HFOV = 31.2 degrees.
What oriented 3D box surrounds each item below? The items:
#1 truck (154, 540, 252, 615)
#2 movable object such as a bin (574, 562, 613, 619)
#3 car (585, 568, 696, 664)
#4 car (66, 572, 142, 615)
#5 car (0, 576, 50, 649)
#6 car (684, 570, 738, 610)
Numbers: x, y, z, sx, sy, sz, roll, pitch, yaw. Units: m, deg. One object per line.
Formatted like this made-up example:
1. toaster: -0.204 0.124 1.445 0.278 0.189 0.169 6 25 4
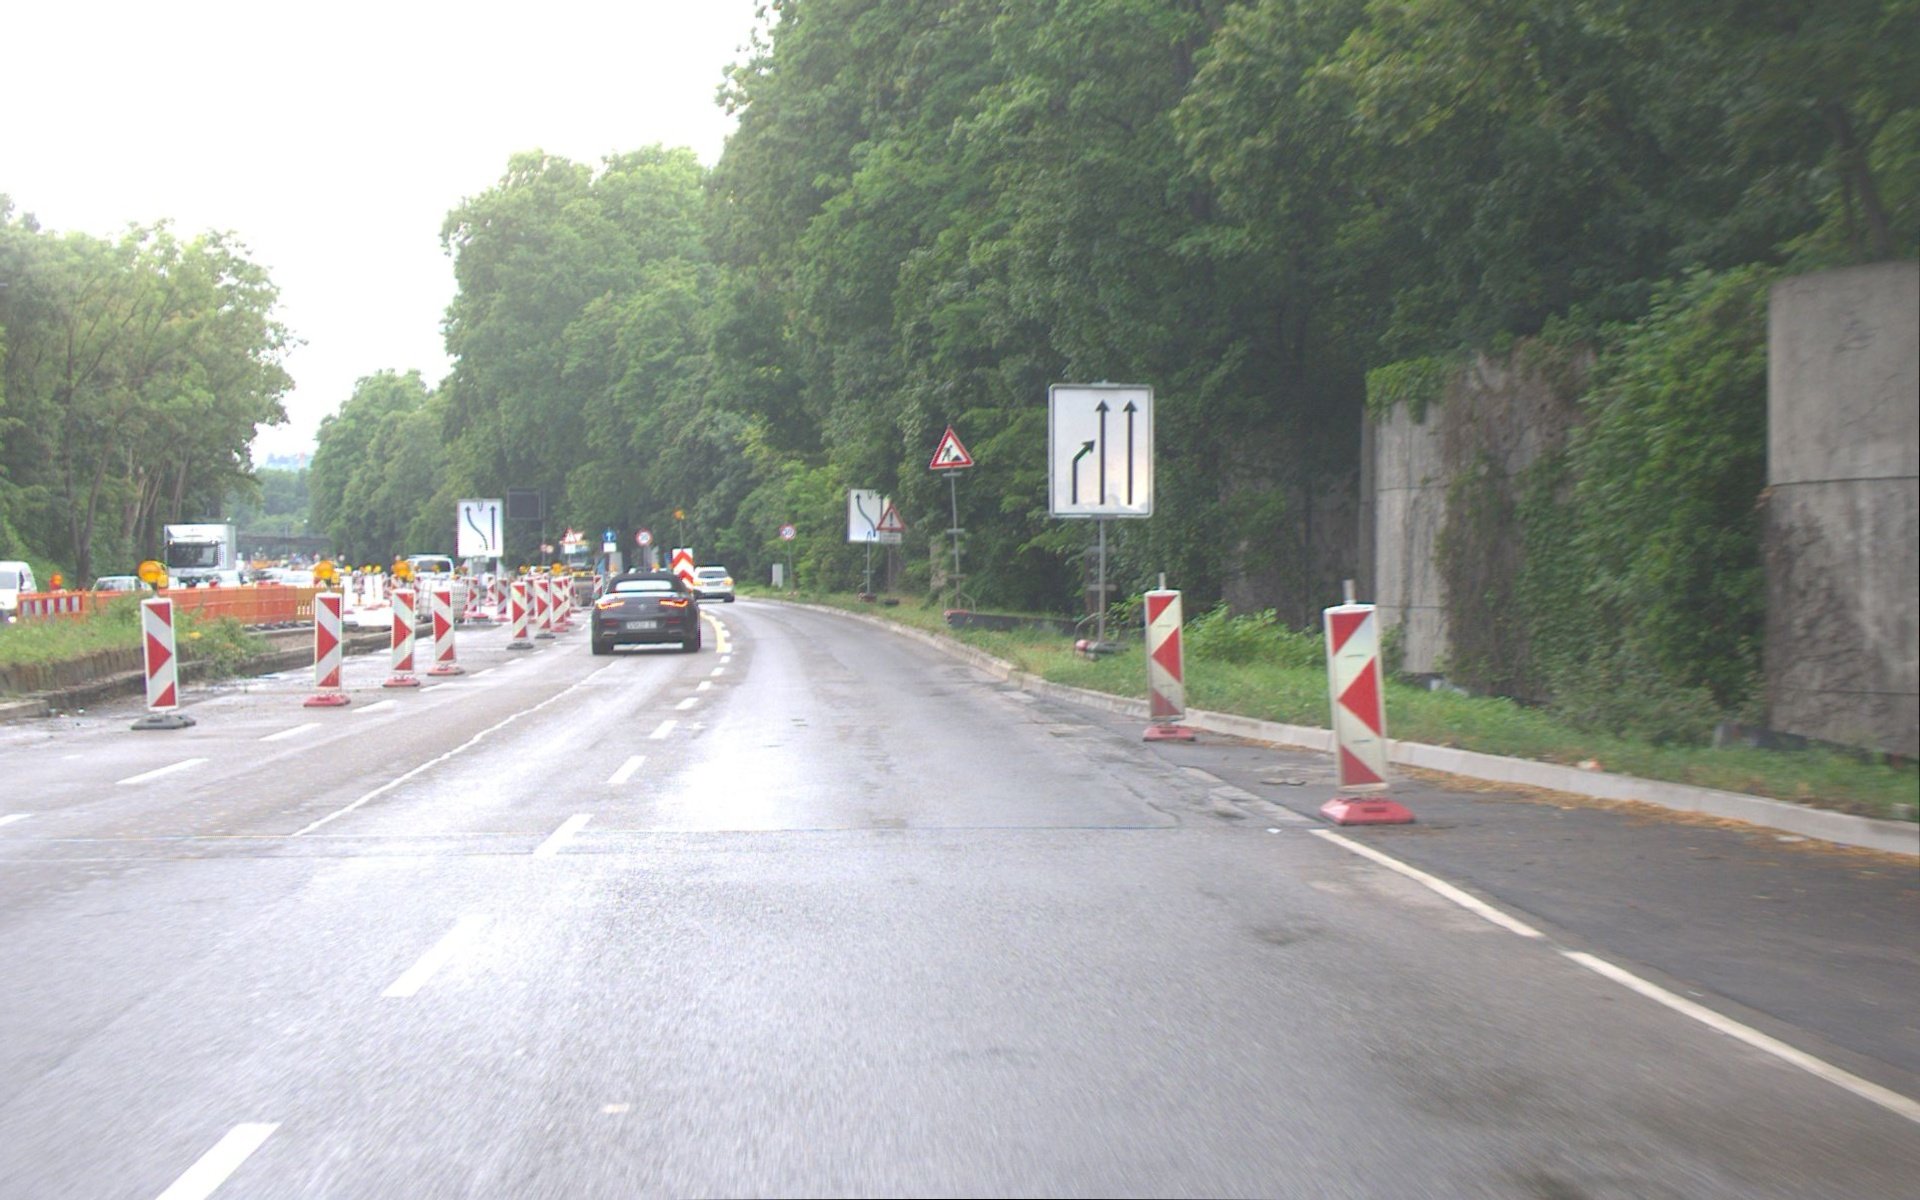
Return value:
1. truck: -33.000 -0.980 150.226 2.795 3.137 10.149 -1 0 -5
2. movable object such as a bin: -18.960 -0.500 177.718 1.746 2.858 3.535 -1 0 -9
3. car: -5.637 0.251 60.927 1.862 1.486 4.001 1 2 -5
4. car: -29.040 -0.217 116.749 1.790 1.420 3.897 -1 0 -3
5. car: -24.571 0.298 87.302 1.914 1.775 4.834 0 1 -4
6. car: -10.240 -0.416 141.132 1.913 1.592 4.835 0 1 -8
